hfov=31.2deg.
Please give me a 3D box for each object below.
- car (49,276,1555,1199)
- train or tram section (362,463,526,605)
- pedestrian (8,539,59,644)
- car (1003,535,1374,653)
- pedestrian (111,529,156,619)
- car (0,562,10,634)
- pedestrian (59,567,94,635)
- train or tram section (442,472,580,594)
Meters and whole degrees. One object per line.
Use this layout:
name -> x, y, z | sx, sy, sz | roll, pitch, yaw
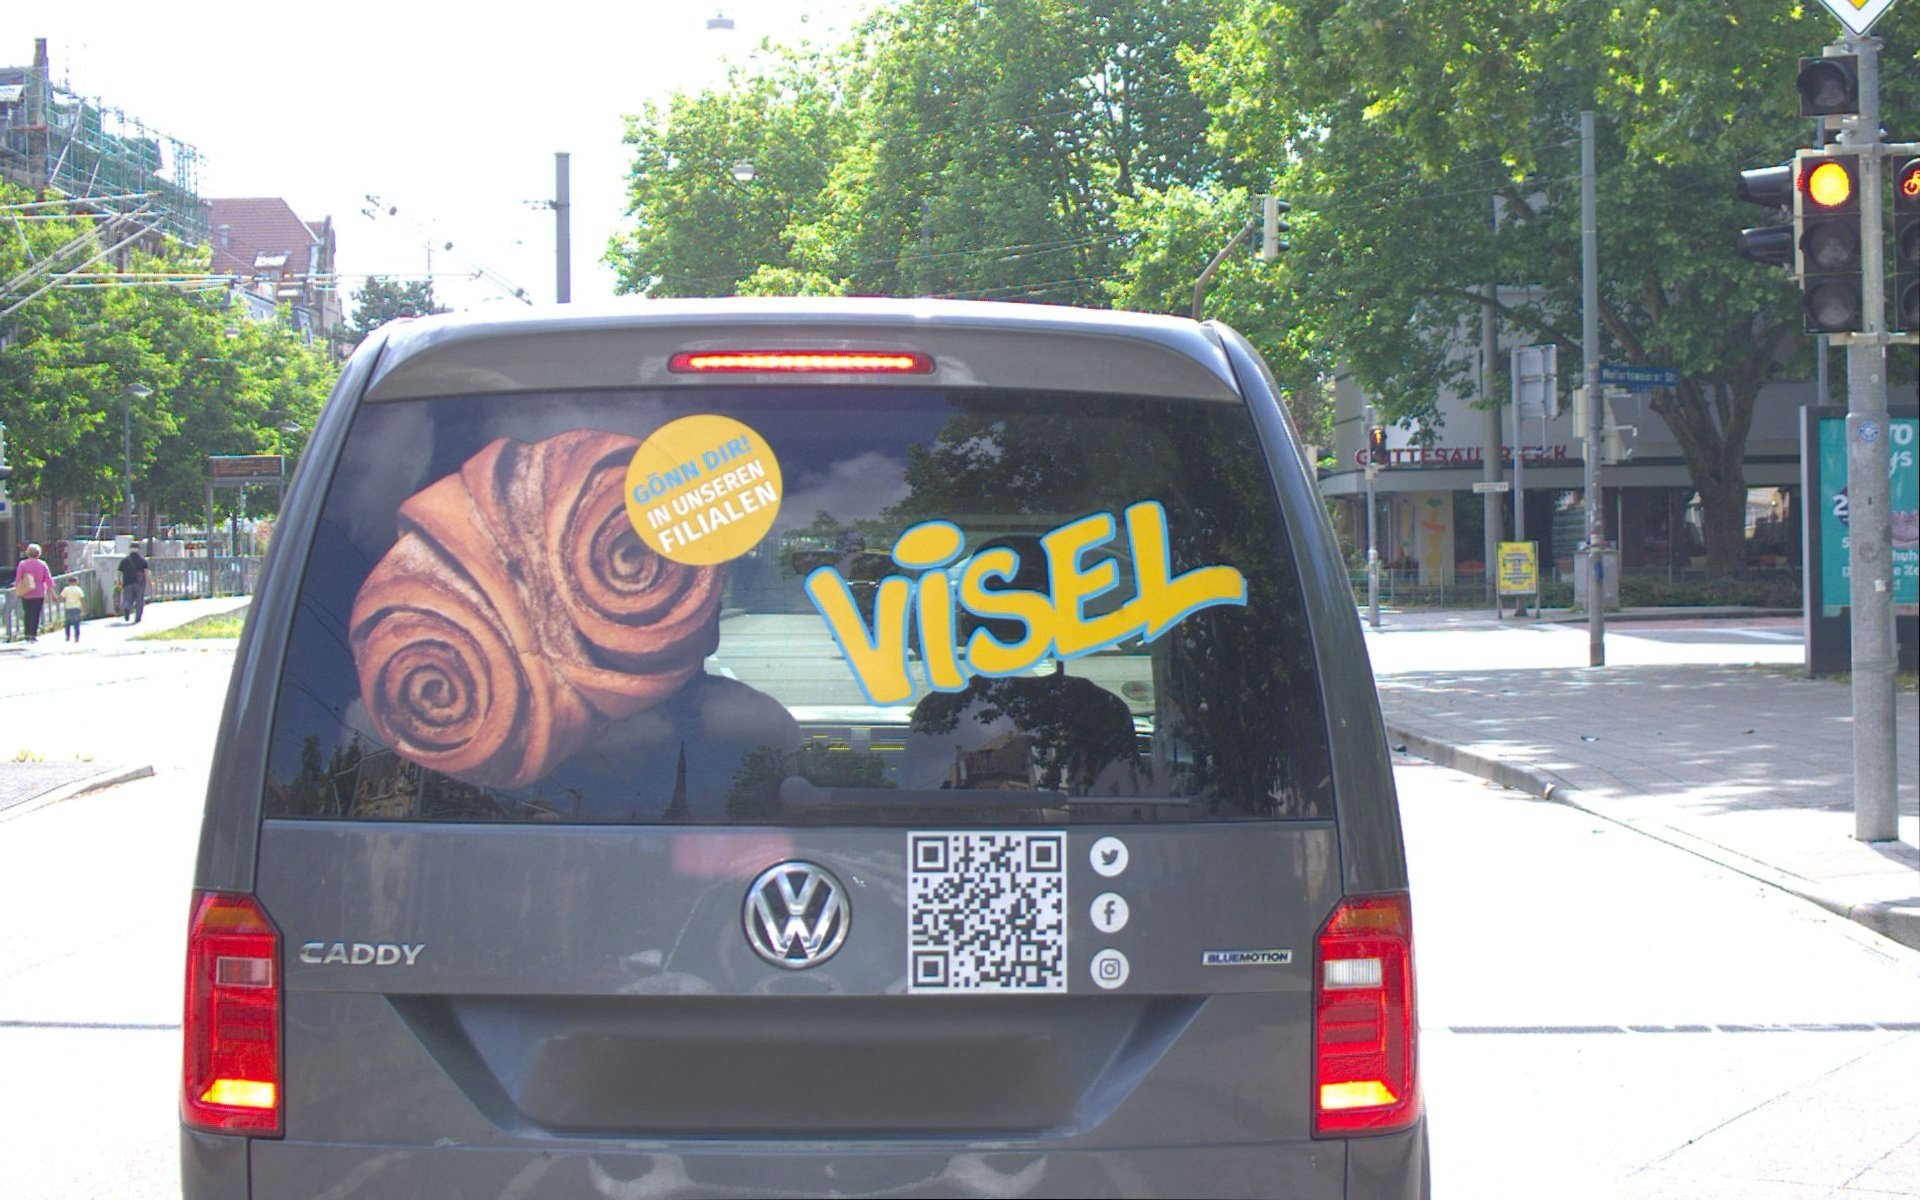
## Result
car -> -0.196, 0.494, 5.756 | 1.750, 1.802, 3.475 | 0, 1, 0
train or tram section -> -13.062, -1.701, 88.026 | 2.240, 3.320, 12.972 | -1, 1, 0
pedestrian -> -15.948, -0.151, 59.169 | 0.659, 1.778, 0.660 | -1, 1, 0
car -> 2.958, -0.103, 44.439 | 4.480, 1.385, 1.707 | -2, 1, -24
pedestrian -> -15.618, -0.498, 64.945 | 0.659, 1.679, 0.655 | -1, 1, 0
car -> -27.780, -0.016, 94.871 | 1.993, 2.007, 4.000 | -1, 1, 0
pedestrian -> -15.189, 0.014, 59.081 | 0.463, 1.140, 0.435 | -1, 1, 0
train or tram section -> -13.117, -1.986, 101.504 | 2.240, 3.320, 14.014 | -1, 1, 0
